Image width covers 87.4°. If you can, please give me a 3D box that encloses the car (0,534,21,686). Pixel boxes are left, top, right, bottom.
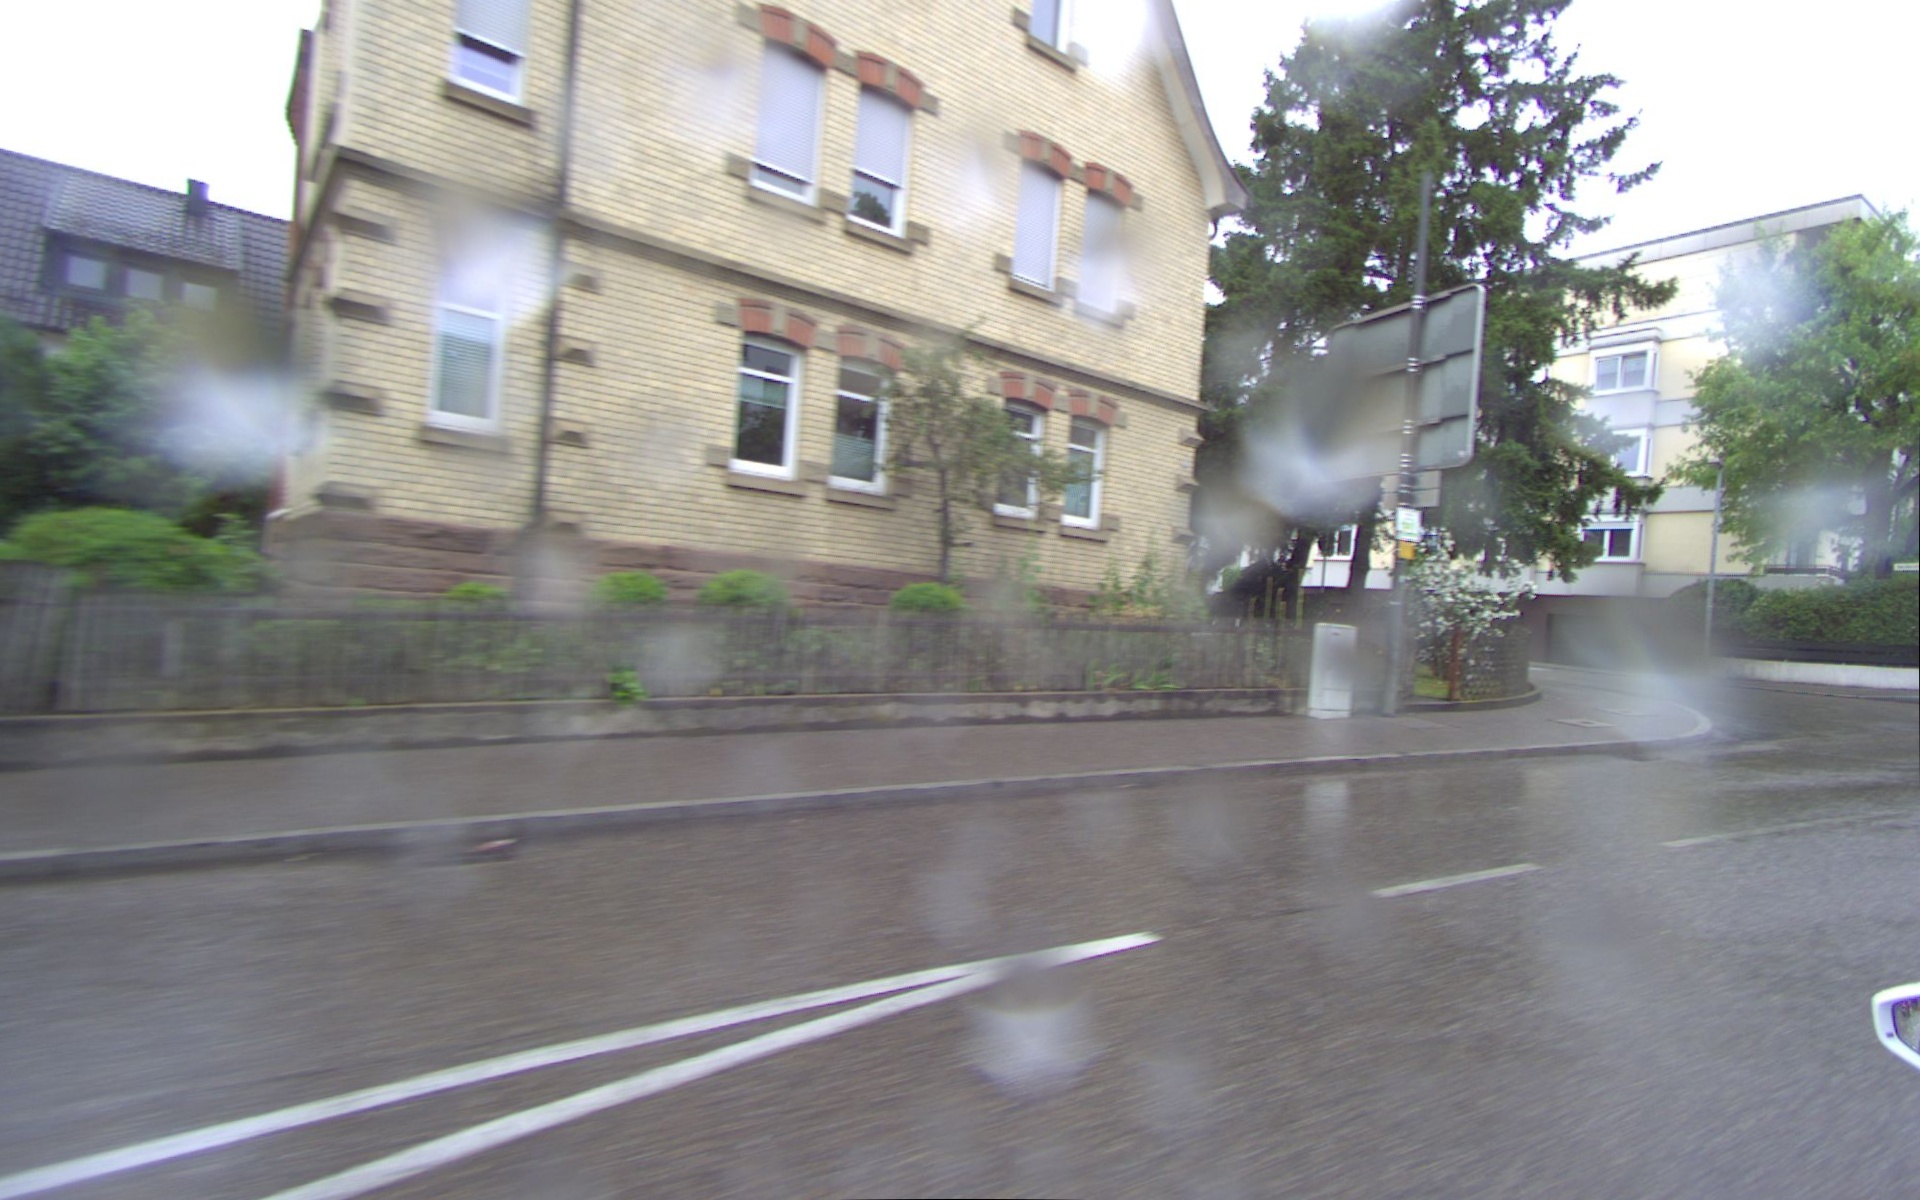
[{"bbox_3d":[-10.630,0.055,8.431,3.848,1.386,1.757,1,3,-38],"label":"car"}]
